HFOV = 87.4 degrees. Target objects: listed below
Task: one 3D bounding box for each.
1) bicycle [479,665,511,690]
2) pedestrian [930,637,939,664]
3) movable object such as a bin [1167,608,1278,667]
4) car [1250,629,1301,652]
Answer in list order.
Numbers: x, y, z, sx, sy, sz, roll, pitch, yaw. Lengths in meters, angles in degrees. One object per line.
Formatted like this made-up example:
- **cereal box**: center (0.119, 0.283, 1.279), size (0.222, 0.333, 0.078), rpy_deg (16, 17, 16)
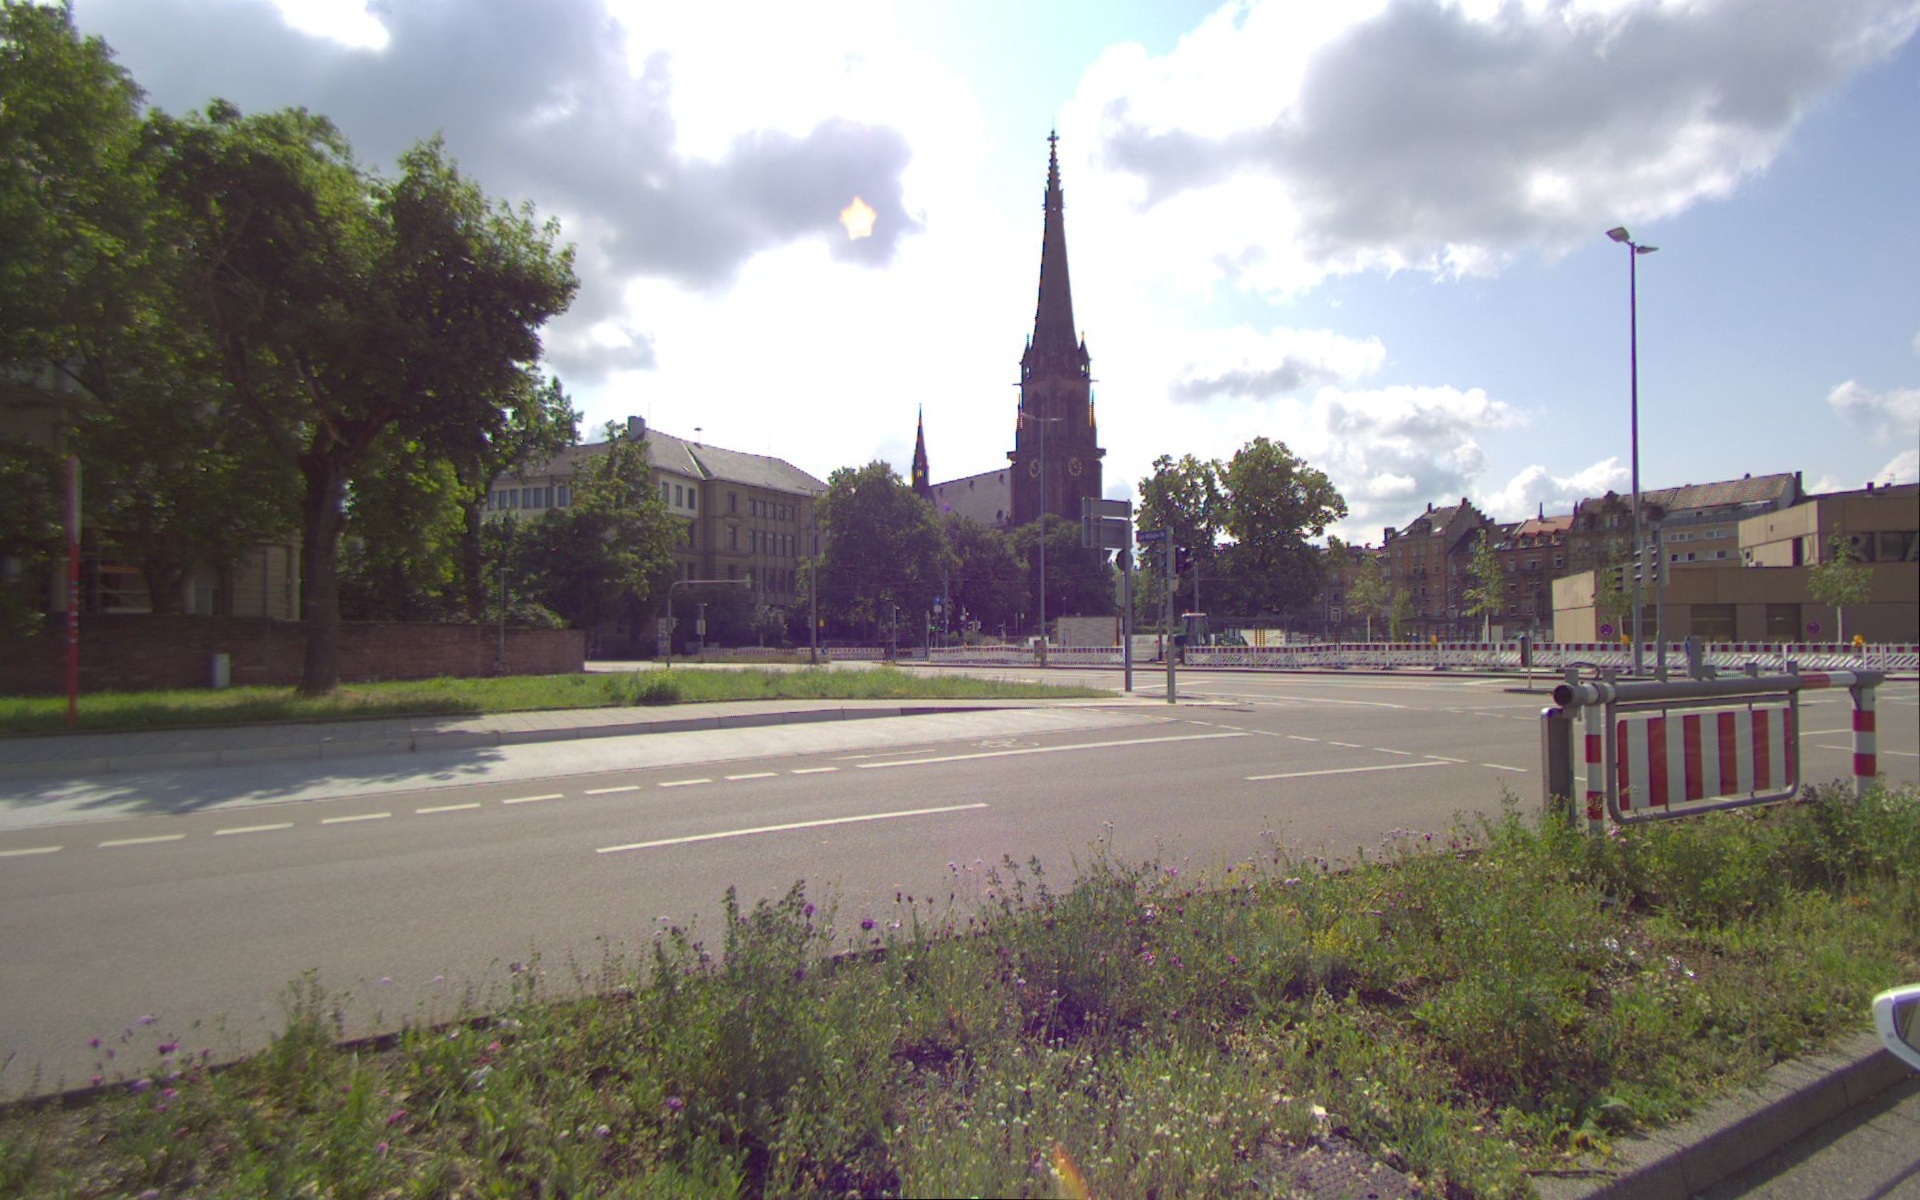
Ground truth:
- **bicycle**: center (-19.703, 3.259, 42.583), size (0.386, 1.005, 1.524), rpy_deg (0, -2, 10)
- **pedestrian**: center (-1.796, 3.565, 70.587), size (0.492, 1.874, 0.526), rpy_deg (1, -2, -25)
- **movable object such as a bin**: center (13.464, 1.954, 51.880), size (5.430, 2.922, 2.290), rpy_deg (-1, -2, 12)
- **car**: center (27.170, 3.484, 86.376), size (4.098, 1.906, 1.803), rpy_deg (-1, -2, 20)
